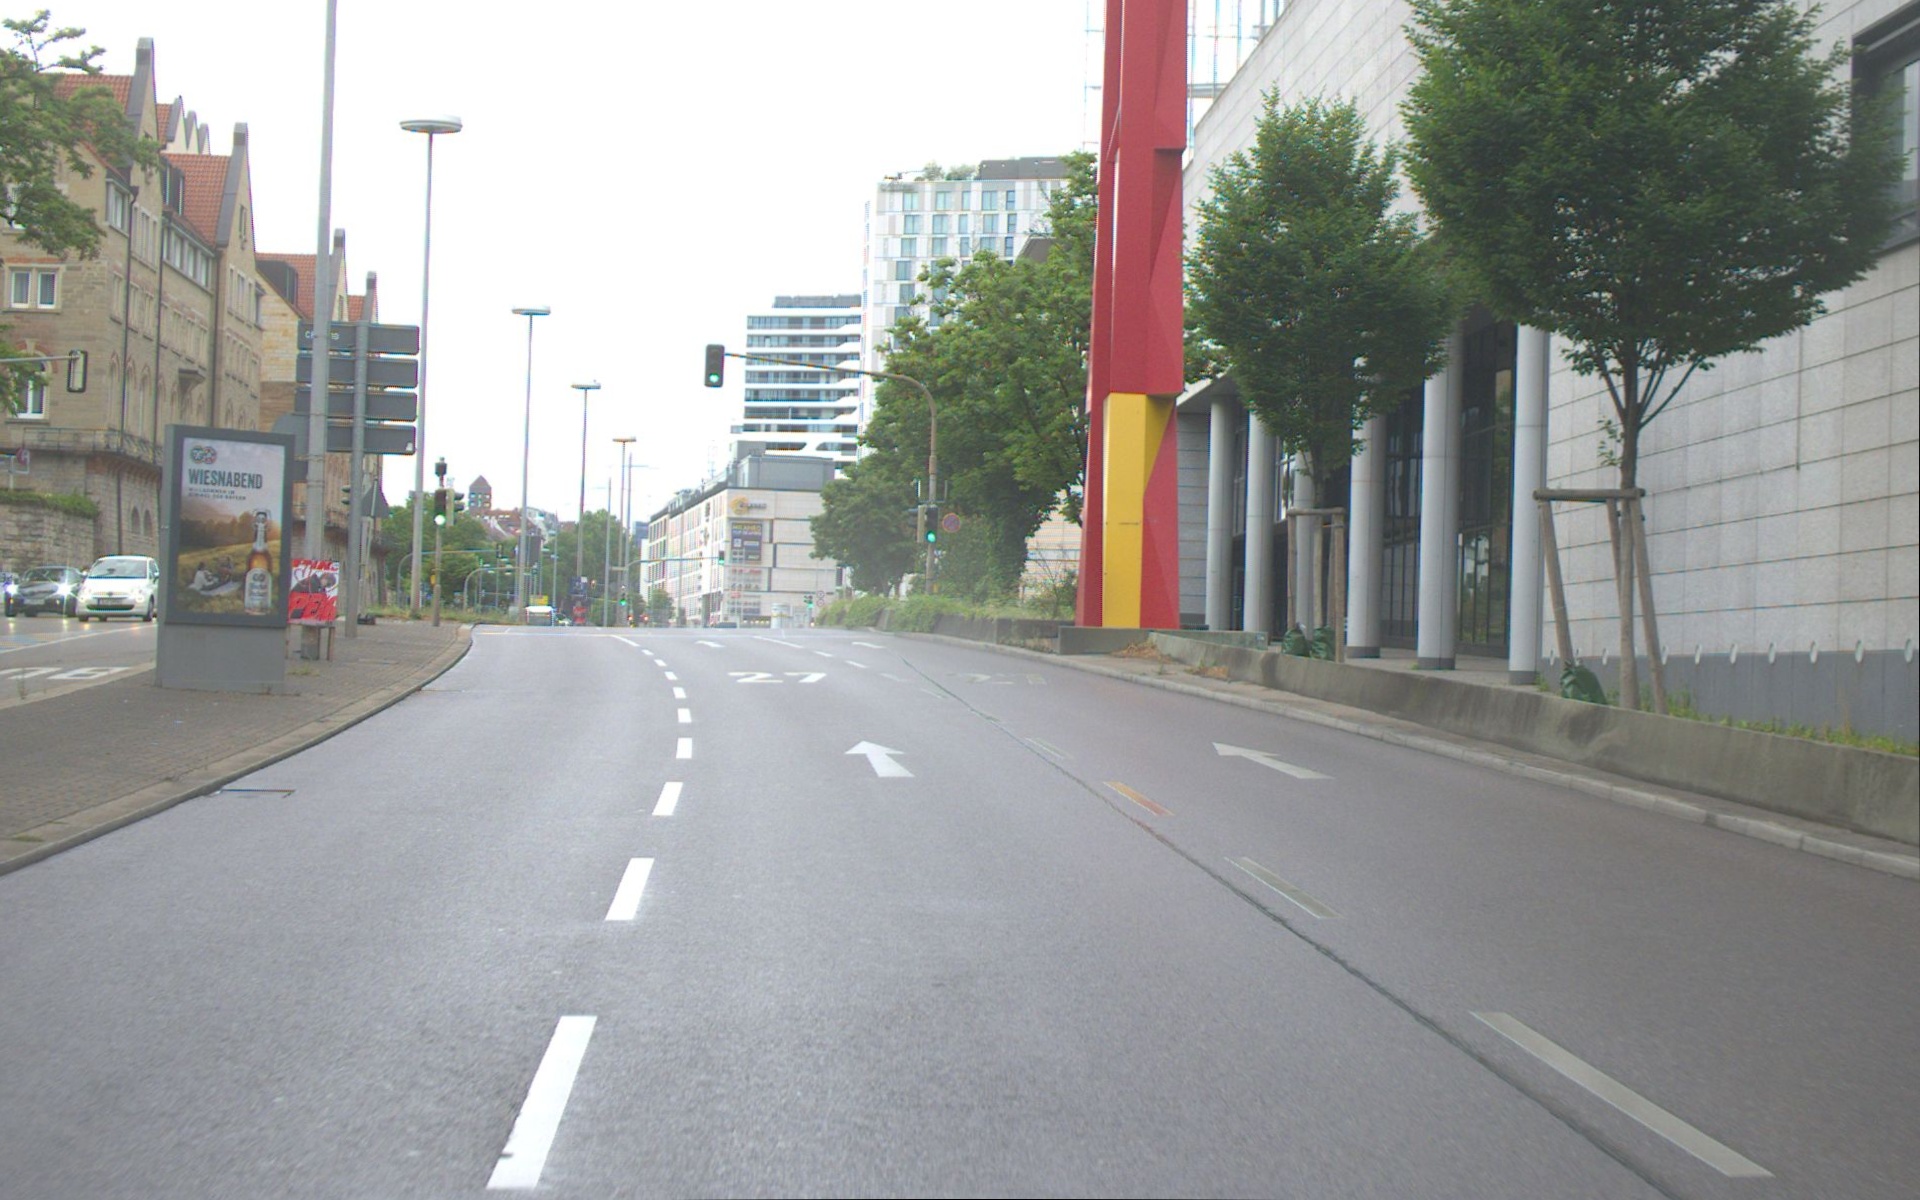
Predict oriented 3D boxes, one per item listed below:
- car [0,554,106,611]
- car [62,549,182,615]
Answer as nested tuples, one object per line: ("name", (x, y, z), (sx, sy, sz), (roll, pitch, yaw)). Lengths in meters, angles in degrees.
("car", (-22.698, -0.428, 85.821), (1.819, 1.380, 4.000), (0, 0, -1))
("car", (-18.976, -0.393, 77.987), (1.819, 1.463, 4.000), (0, 0, -1))
